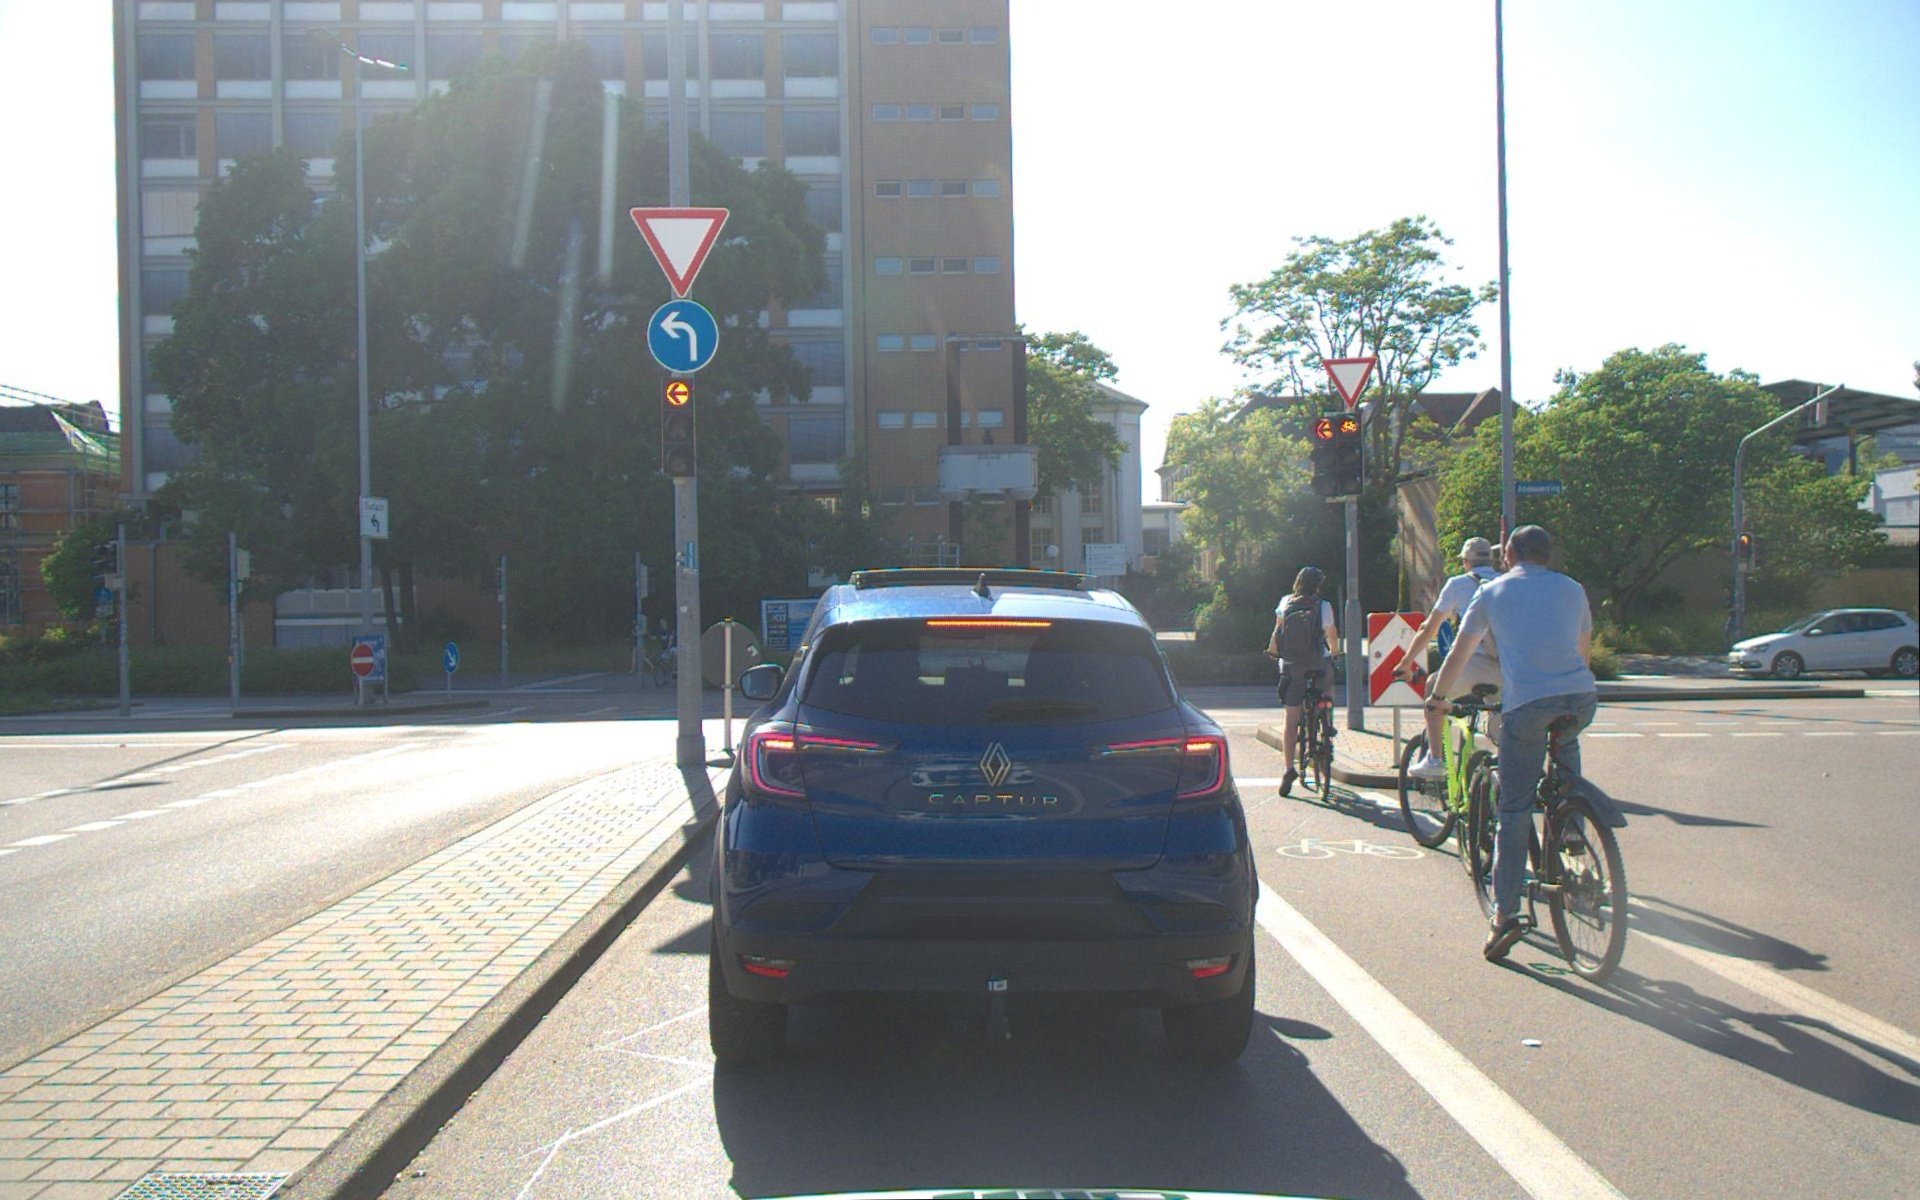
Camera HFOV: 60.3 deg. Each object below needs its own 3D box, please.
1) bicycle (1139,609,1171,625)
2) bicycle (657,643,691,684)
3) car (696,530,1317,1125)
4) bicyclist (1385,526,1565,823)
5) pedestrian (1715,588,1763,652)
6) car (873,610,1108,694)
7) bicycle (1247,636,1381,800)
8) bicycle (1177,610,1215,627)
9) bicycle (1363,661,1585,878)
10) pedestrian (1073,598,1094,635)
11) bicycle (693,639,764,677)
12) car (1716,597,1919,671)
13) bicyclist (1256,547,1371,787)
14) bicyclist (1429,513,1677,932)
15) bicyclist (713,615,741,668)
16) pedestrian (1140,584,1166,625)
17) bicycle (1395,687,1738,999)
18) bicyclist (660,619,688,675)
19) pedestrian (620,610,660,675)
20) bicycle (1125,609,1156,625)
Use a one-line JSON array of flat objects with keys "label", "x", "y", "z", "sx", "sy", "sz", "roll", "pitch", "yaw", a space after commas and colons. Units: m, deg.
[{"label": "bicycle", "x": 11.197, "y": 0.980, "z": 94.998, "sx": 1.735, "sy": 0.914, "sz": 0.765, "roll": -1, "pitch": 0, "yaw": -1}, {"label": "bicycle", "x": -7.577, "y": 1.700, "z": 43.807, "sx": 0.687, "sy": 1.025, "sz": 1.860, "roll": -1, "pitch": -3, "yaw": -16}, {"label": "car", "x": 0.084, "y": 0.643, "z": 6.641, "sx": 1.758, "sy": 1.684, "sz": 3.852, "roll": 1, "pitch": 0, "yaw": -2}, {"label": "bicyclist", "x": 2.950, "y": 0.406, "z": 9.567, "sx": 0.660, "sy": 1.610, "sz": 1.081, "roll": 1, "pitch": 0, "yaw": -2}, {"label": "pedestrian", "x": 20.356, "y": 0.522, "z": 43.230, "sx": 0.960, "sy": 1.632, "sz": 0.827, "roll": -1, "pitch": 0, "yaw": 13}, {"label": "car", "x": 0.700, "y": 1.079, "z": 34.846, "sx": 4.760, "sy": 1.621, "sz": 1.939, "roll": -1, "pitch": 0, "yaw": 6}, {"label": "bicycle", "x": 2.762, "y": 0.886, "z": 13.073, "sx": 0.602, "sy": 1.158, "sz": 1.825, "roll": 0, "pitch": 0, "yaw": -2}, {"label": "bicycle", "x": 11.854, "y": 0.928, "z": 83.207, "sx": 1.739, "sy": 0.837, "sz": 0.763, "roll": -1, "pitch": 0, "yaw": -11}, {"label": "bicycle", "x": 2.935, "y": 0.929, "z": 9.642, "sx": 0.657, "sy": 1.069, "sz": 1.843, "roll": 1, "pitch": 0, "yaw": -2}, {"label": "pedestrian", "x": 6.994, "y": 0.929, "z": 93.392, "sx": 1.126, "sy": 2.049, "sz": 0.952, "roll": -1, "pitch": 0, "yaw": 6}, {"label": "bicycle", "x": -6.409, "y": 1.605, "z": 45.807, "sx": 1.826, "sy": 0.975, "sz": 0.624, "roll": -1, "pitch": 0, "yaw": 4}, {"label": "car", "x": 18.696, "y": 0.751, "z": 35.759, "sx": 3.870, "sy": 1.517, "sz": 1.812, "roll": -1, "pitch": -2, "yaw": 8}, {"label": "bicyclist", "x": 2.774, "y": 0.512, "z": 13.049, "sx": 0.663, "sy": 1.816, "sz": 0.939, "roll": 1, "pitch": -1, "yaw": -2}, {"label": "bicyclist", "x": 2.559, "y": 0.500, "z": 7.225, "sx": 0.725, "sy": 1.703, "sz": 0.865, "roll": -1, "pitch": 0, "yaw": -3}, {"label": "bicyclist", "x": -6.456, "y": 1.146, "z": 45.799, "sx": 0.623, "sy": 1.437, "sz": 0.649, "roll": -1, "pitch": 0, "yaw": 3}, {"label": "pedestrian", "x": 9.764, "y": 0.223, "z": 83.827, "sx": 1.132, "sy": 2.049, "sz": 1.164, "roll": -1, "pitch": 0, "yaw": -1}, {"label": "bicycle", "x": 2.566, "y": 0.975, "z": 7.261, "sx": 0.732, "sy": 1.069, "sz": 1.902, "roll": -1, "pitch": 0, "yaw": -2}, {"label": "bicyclist", "x": -7.556, "y": 1.239, "z": 43.729, "sx": 0.637, "sy": 1.437, "sz": 0.635, "roll": -1, "pitch": -3, "yaw": -17}, {"label": "pedestrian", "x": -9.419, "y": 1.241, "z": 48.735, "sx": 0.912, "sy": 1.888, "sz": 0.808, "roll": -1, "pitch": 0, "yaw": 8}, {"label": "bicycle", "x": 10.850, "y": 1.011, "z": 99.357, "sx": 1.735, "sy": 0.908, "sz": 0.765, "roll": -1, "pitch": 0, "yaw": -1}]
